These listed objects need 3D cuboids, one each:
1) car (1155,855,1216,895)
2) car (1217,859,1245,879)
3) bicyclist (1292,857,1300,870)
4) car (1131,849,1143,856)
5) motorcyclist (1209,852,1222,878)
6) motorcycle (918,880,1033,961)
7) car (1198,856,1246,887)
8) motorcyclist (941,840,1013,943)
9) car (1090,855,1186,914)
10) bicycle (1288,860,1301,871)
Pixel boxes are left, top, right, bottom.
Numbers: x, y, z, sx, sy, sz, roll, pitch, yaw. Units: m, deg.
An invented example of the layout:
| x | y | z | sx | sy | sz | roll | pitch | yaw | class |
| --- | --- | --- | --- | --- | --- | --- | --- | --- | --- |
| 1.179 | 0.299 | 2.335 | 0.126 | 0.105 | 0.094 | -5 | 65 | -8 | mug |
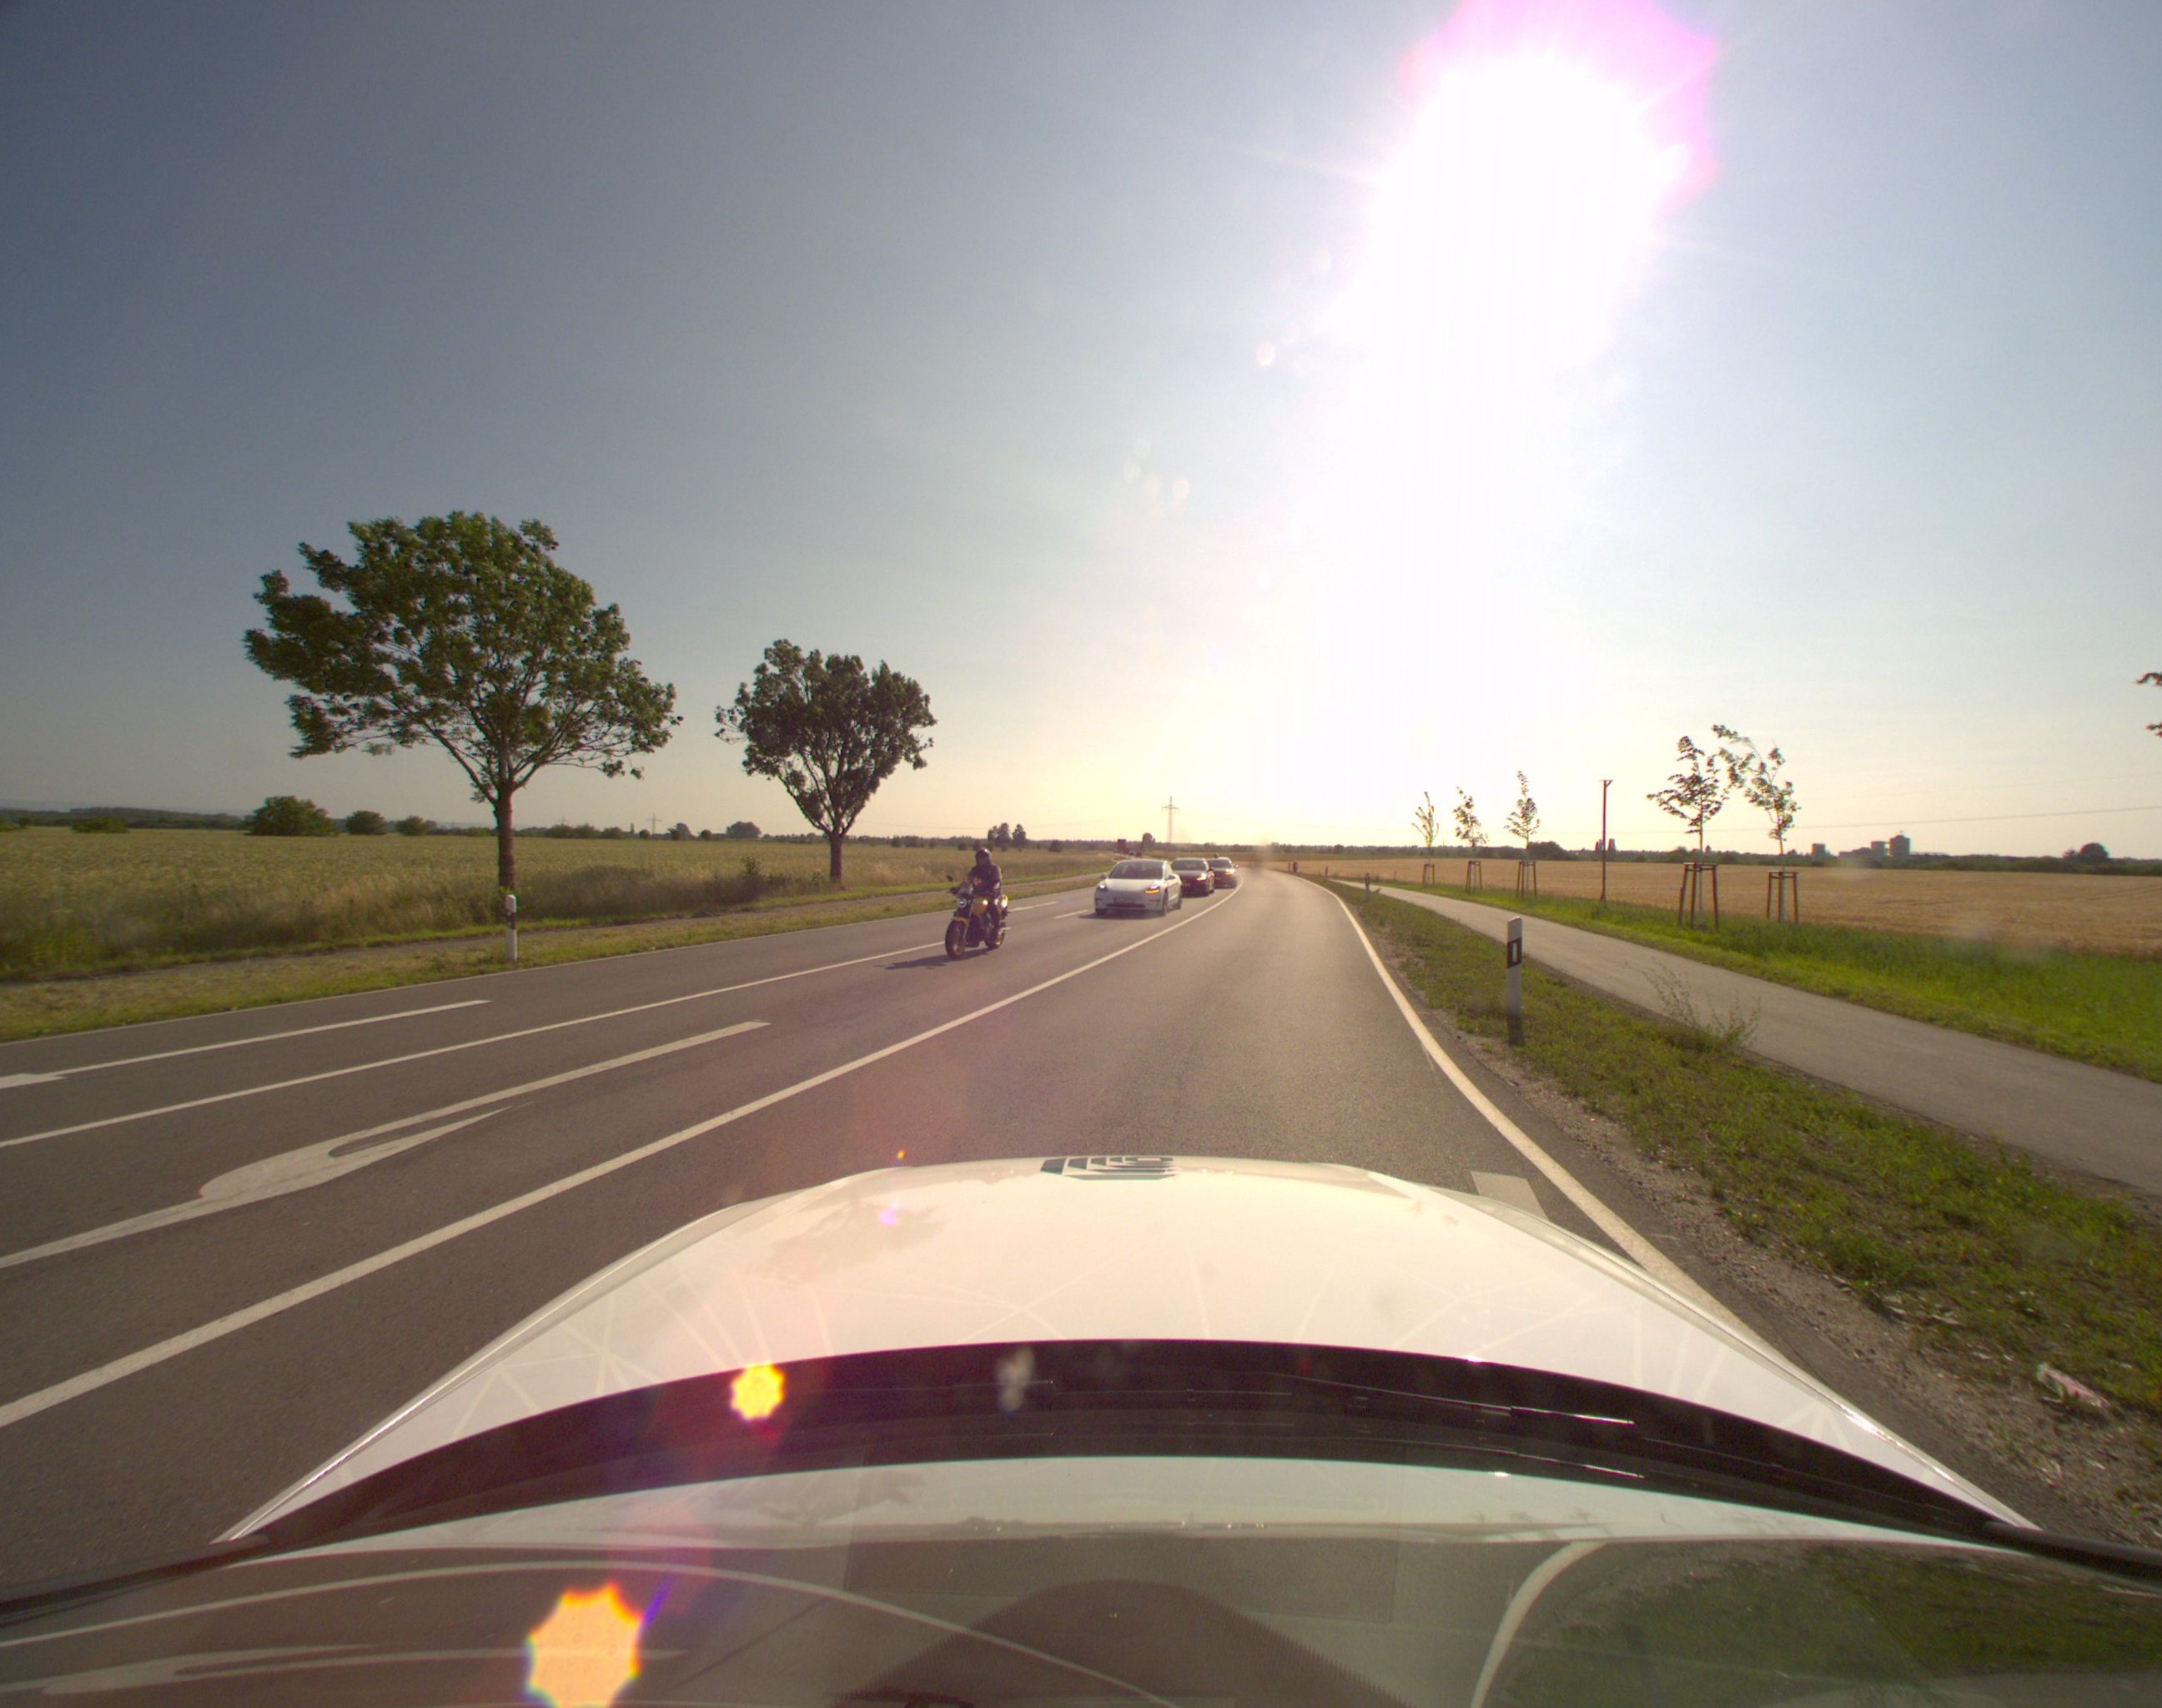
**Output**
| x | y | z | sx | sy | sz | roll | pitch | yaw | class |
| --- | --- | --- | --- | --- | --- | --- | --- | --- | --- |
| 4.250 | 0.805 | 32.611 | 1.876 | 1.461 | 4.322 | 1 | 0 | 14 | car |
| 10.531 | 1.026 | 57.097 | 1.674 | 1.403 | 4.015 | 0 | 0 | 14 | car |
| 24.963 | 1.089 | 94.751 | 0.636 | 1.457 | 0.816 | 3 | 0 | -2 | bicyclist |
| 17.049 | -0.340 | 248.649 | 1.846 | 1.833 | 4.437 | 4 | 1 | -21 | car |
| 7.718 | 0.621 | 46.681 | 0.673 | 1.495 | 0.850 | 0 | 0 | 14 | motorcyclist |
| -1.578 | 0.982 | 12.770 | 0.890 | 1.043 | 2.439 | 0 | 0 | 16 | motorcycle |
| 7.175 | 0.860 | 41.075 | 1.876 | 1.436 | 4.817 | 1 | 0 | 16 | car |
| -1.600 | 0.552 | 12.675 | 0.674 | 1.515 | 1.186 | 0 | 0 | 16 | motorcyclist |
| 1.675 | 0.769 | 22.463 | 1.876 | 1.466 | 4.292 | 0 | 0 | 14 | car |
| 24.939 | 1.321 | 94.984 | 0.842 | 1.142 | 2.206 | 3 | 0 | -1 | bicycle |
